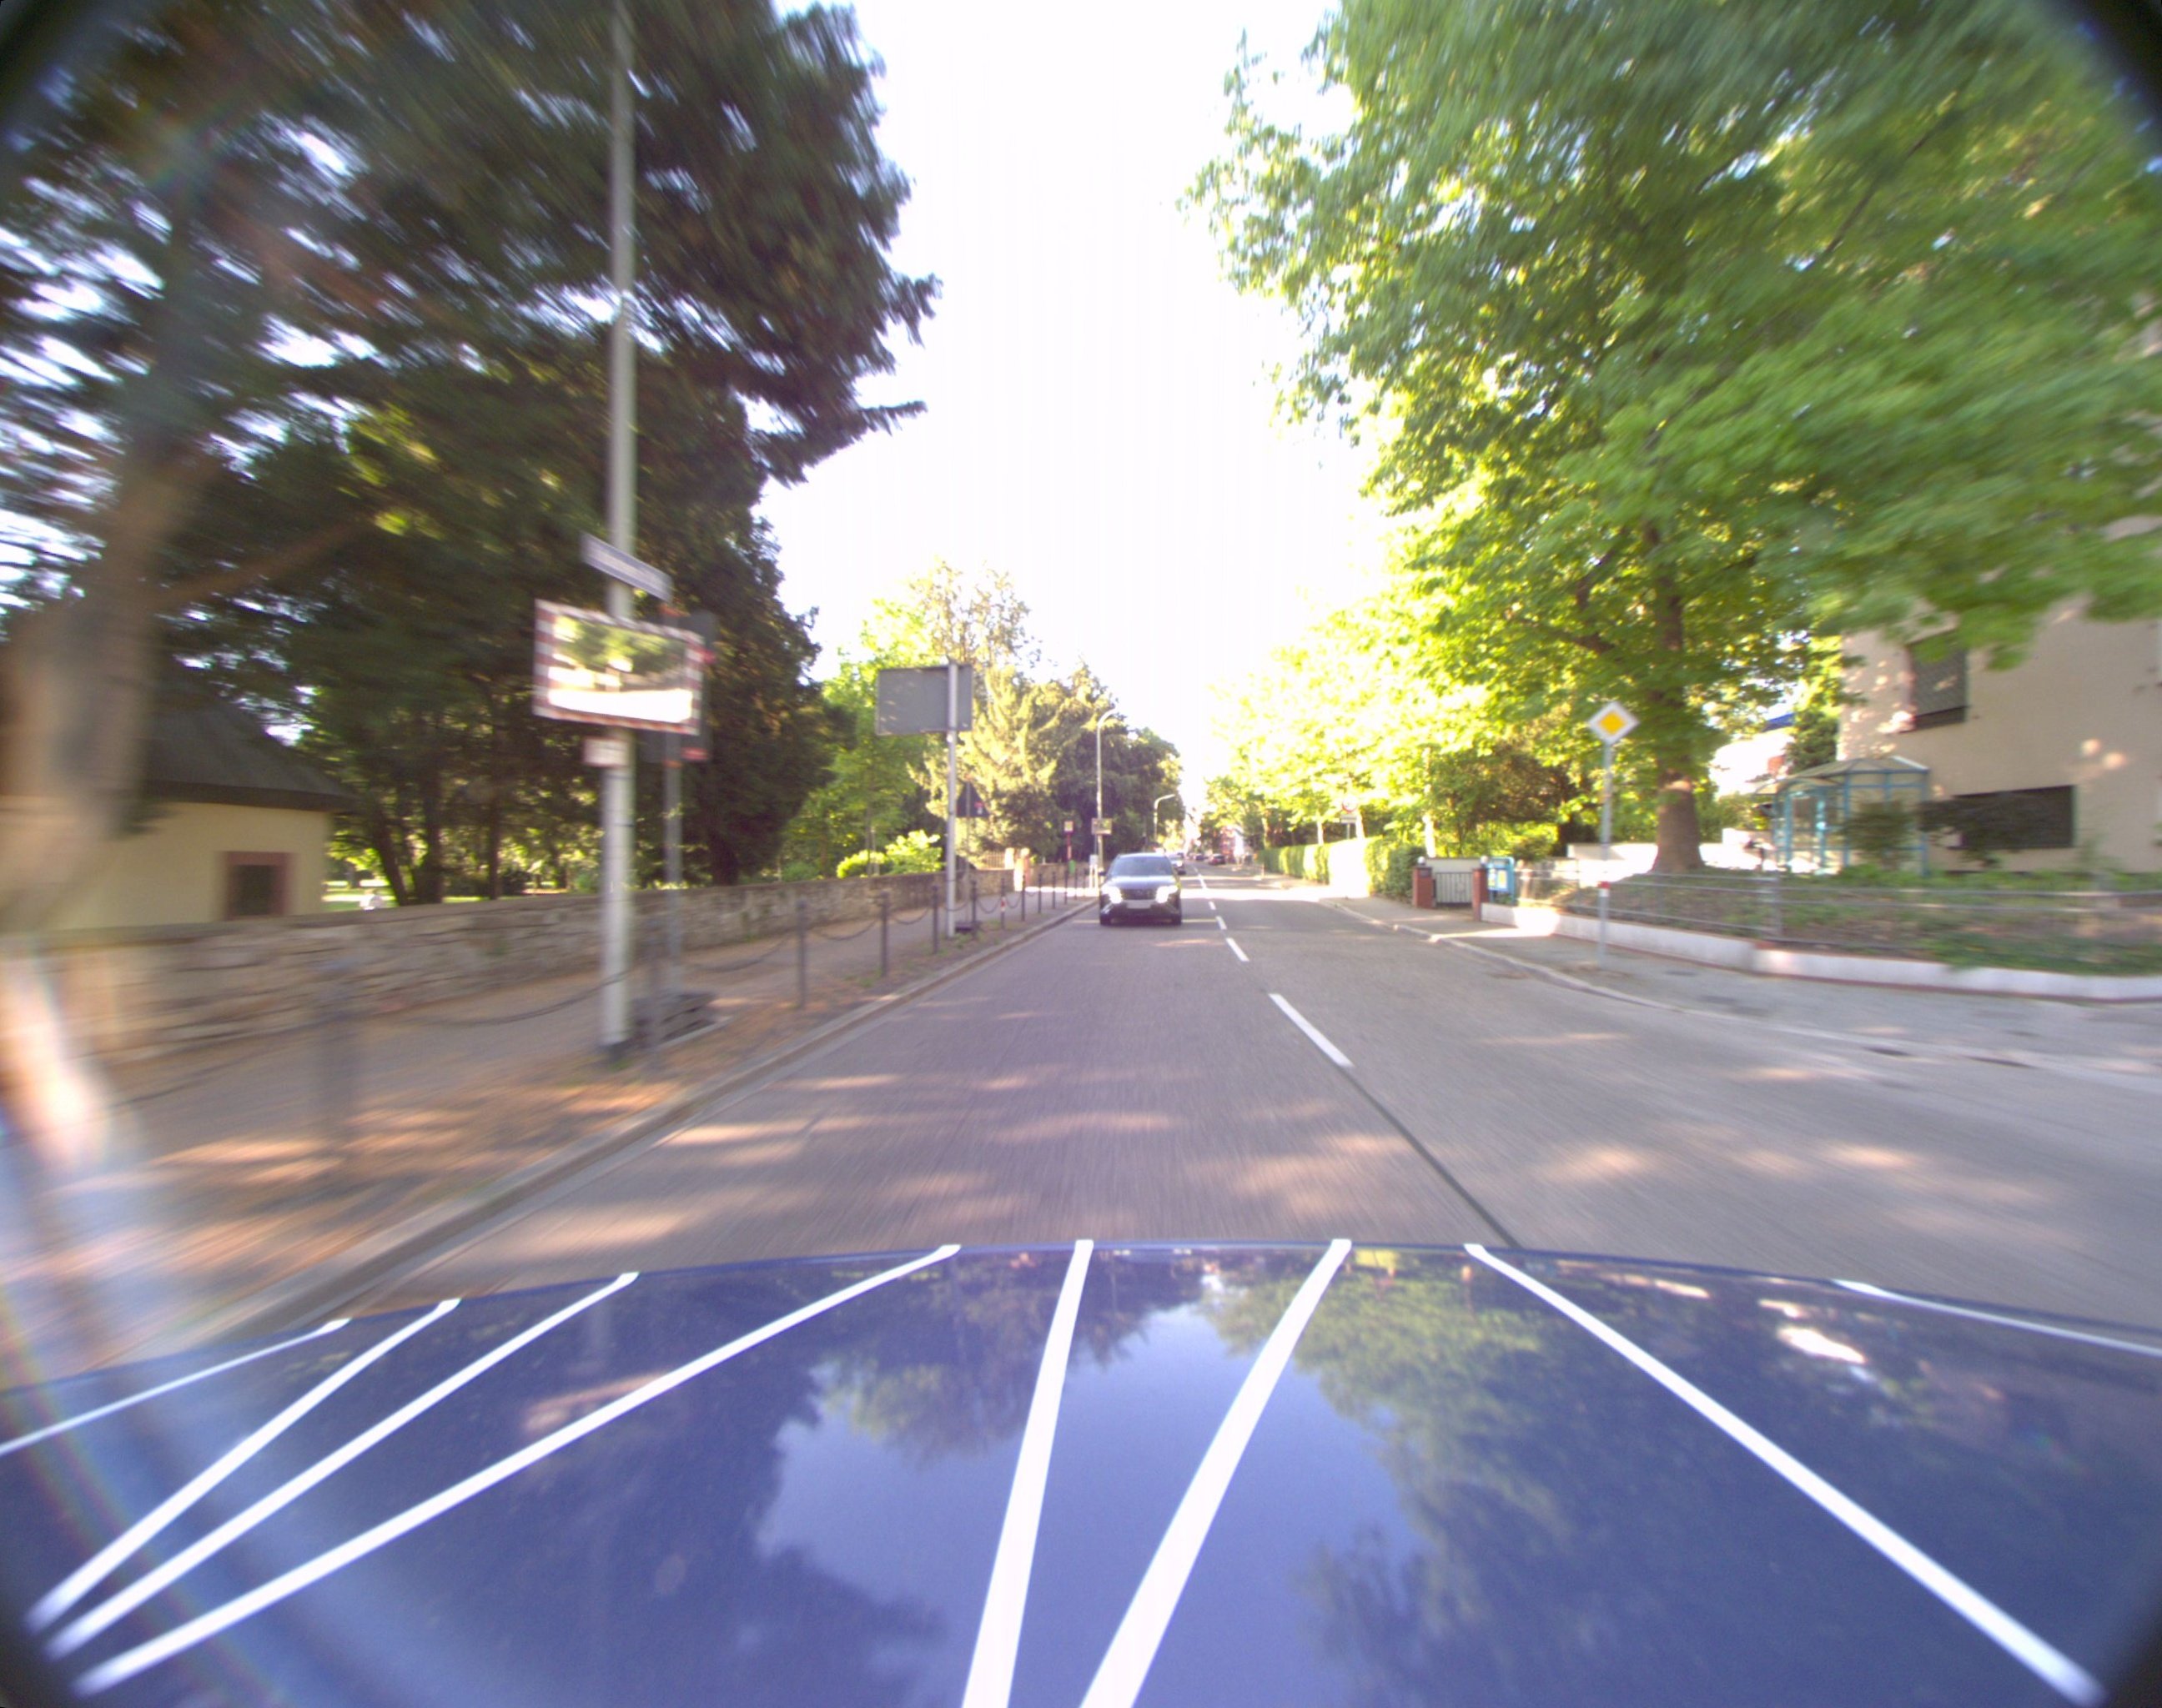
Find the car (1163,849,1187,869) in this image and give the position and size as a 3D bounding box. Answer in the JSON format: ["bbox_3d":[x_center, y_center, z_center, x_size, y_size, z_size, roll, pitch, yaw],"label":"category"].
[{"bbox_3d":[8.704,0.438,70.210,1.997,1.630,4.002,-2,0,8],"label":"car"}]

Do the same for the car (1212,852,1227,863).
[{"bbox_3d":[18.507,0.445,101.898,1.689,1.425,3.618,-3,0,6],"label":"car"}]

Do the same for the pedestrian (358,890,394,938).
[{"bbox_3d":[-25.296,2.151,27.265,0.615,1.631,0.637,-2,1,10],"label":"pedestrian"}]

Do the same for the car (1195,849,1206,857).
[{"bbox_3d":[24.993,-0.219,158.450,1.823,1.375,3.936,3,1,3],"label":"car"}]

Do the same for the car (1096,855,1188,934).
[{"bbox_3d":[1.486,0.858,18.360,1.936,1.676,4.433,0,0,5],"label":"car"}]

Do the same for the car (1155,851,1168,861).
[{"bbox_3d":[12.880,0.273,121.386,1.823,1.375,3.936,3,1,3],"label":"car"}]

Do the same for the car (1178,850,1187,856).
[{"bbox_3d":[25.796,-0.337,193.132,1.823,1.375,3.936,3,1,3],"label":"car"}]
